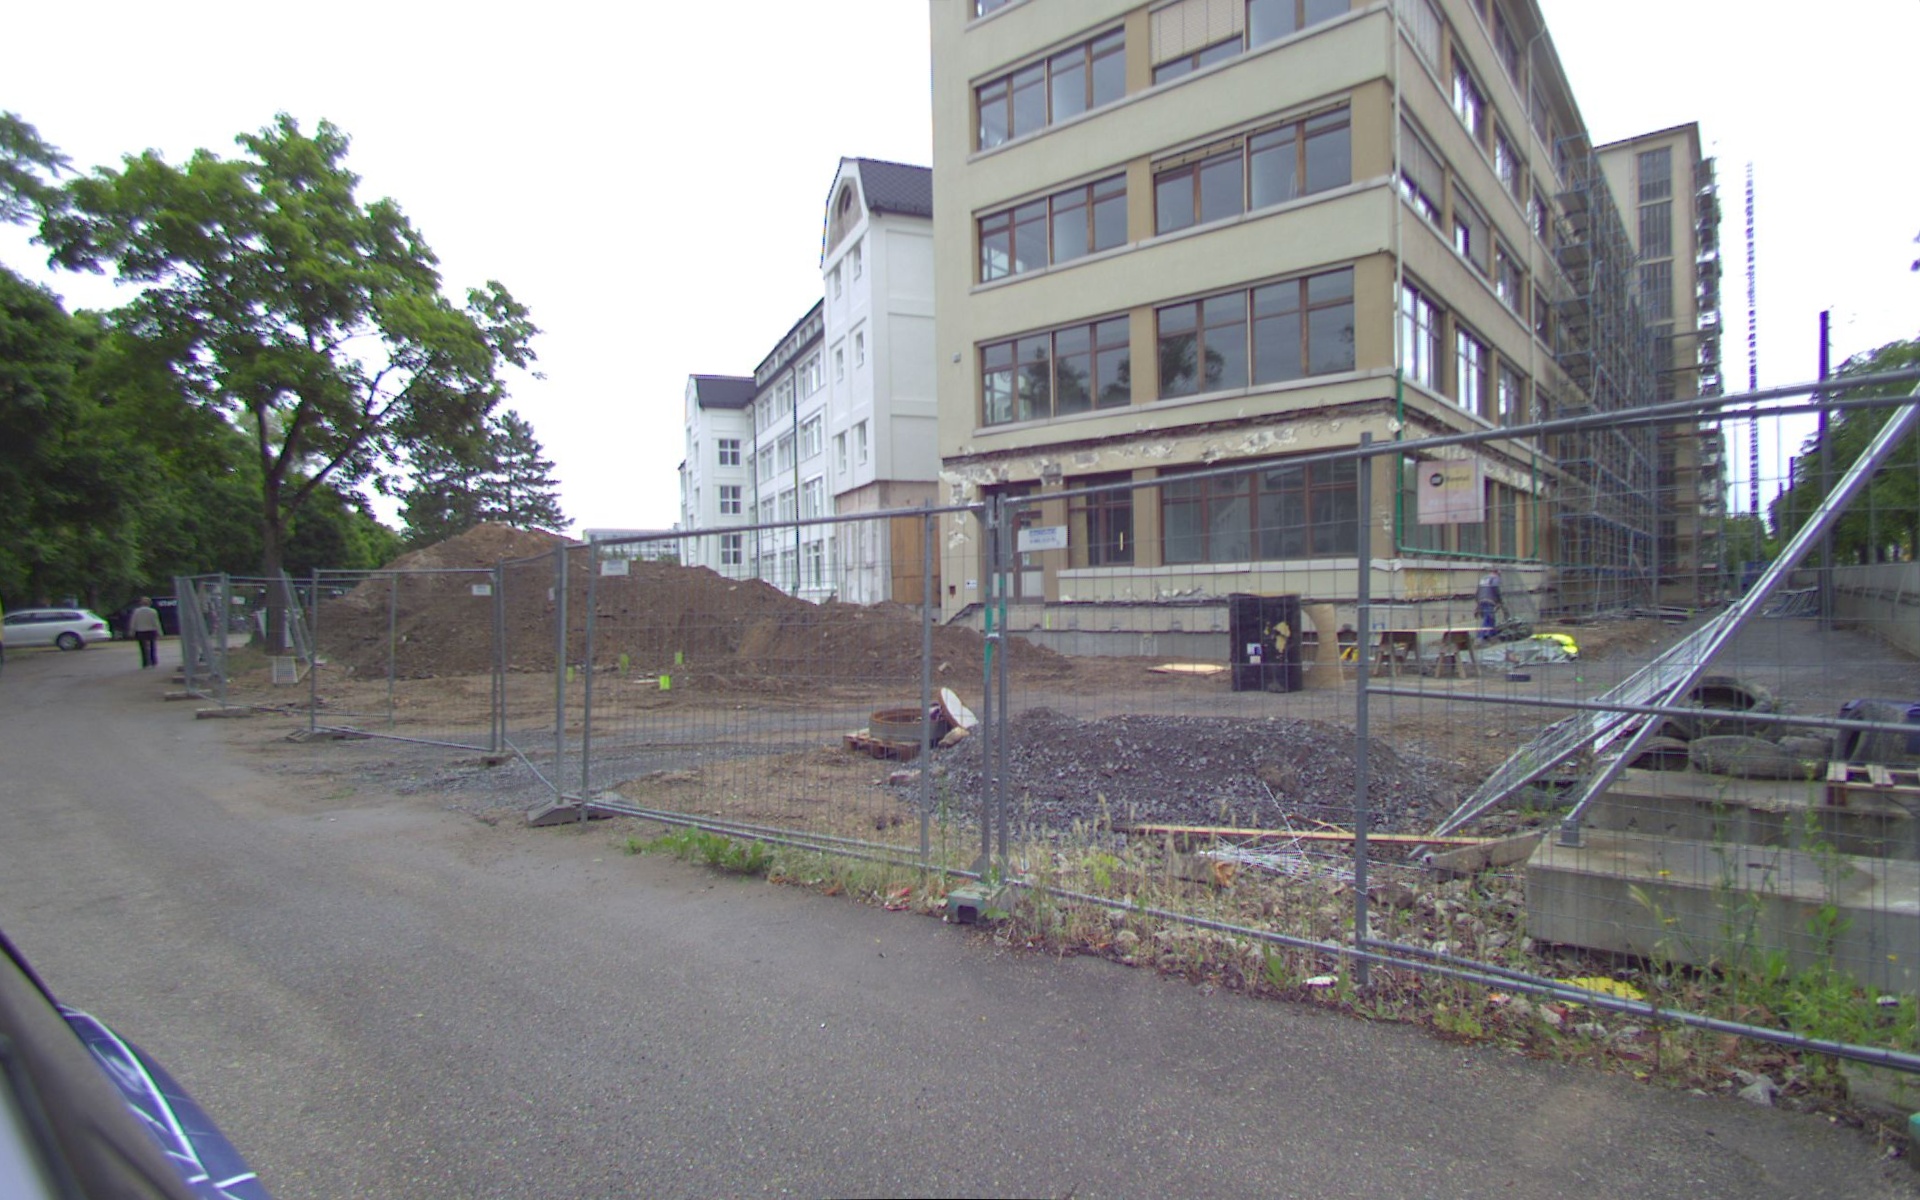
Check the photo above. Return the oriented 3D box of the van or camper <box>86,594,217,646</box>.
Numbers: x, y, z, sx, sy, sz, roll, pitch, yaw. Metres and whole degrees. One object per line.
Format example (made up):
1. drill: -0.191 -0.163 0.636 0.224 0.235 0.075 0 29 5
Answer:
1. van or camper: -38.013 0.913 47.747 4.423 2.275 2.007 -1 0 -23

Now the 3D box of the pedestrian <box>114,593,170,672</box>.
1. pedestrian: -18.838 0.735 23.319 0.657 1.795 0.747 -1 0 16

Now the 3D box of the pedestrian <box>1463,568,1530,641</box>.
1. pedestrian: 11.114 0.088 20.958 0.917 1.448 0.983 -1 0 -45

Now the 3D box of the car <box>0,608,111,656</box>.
1. car: -32.835 1.124 36.050 3.822 1.586 1.756 -1 0 -35
